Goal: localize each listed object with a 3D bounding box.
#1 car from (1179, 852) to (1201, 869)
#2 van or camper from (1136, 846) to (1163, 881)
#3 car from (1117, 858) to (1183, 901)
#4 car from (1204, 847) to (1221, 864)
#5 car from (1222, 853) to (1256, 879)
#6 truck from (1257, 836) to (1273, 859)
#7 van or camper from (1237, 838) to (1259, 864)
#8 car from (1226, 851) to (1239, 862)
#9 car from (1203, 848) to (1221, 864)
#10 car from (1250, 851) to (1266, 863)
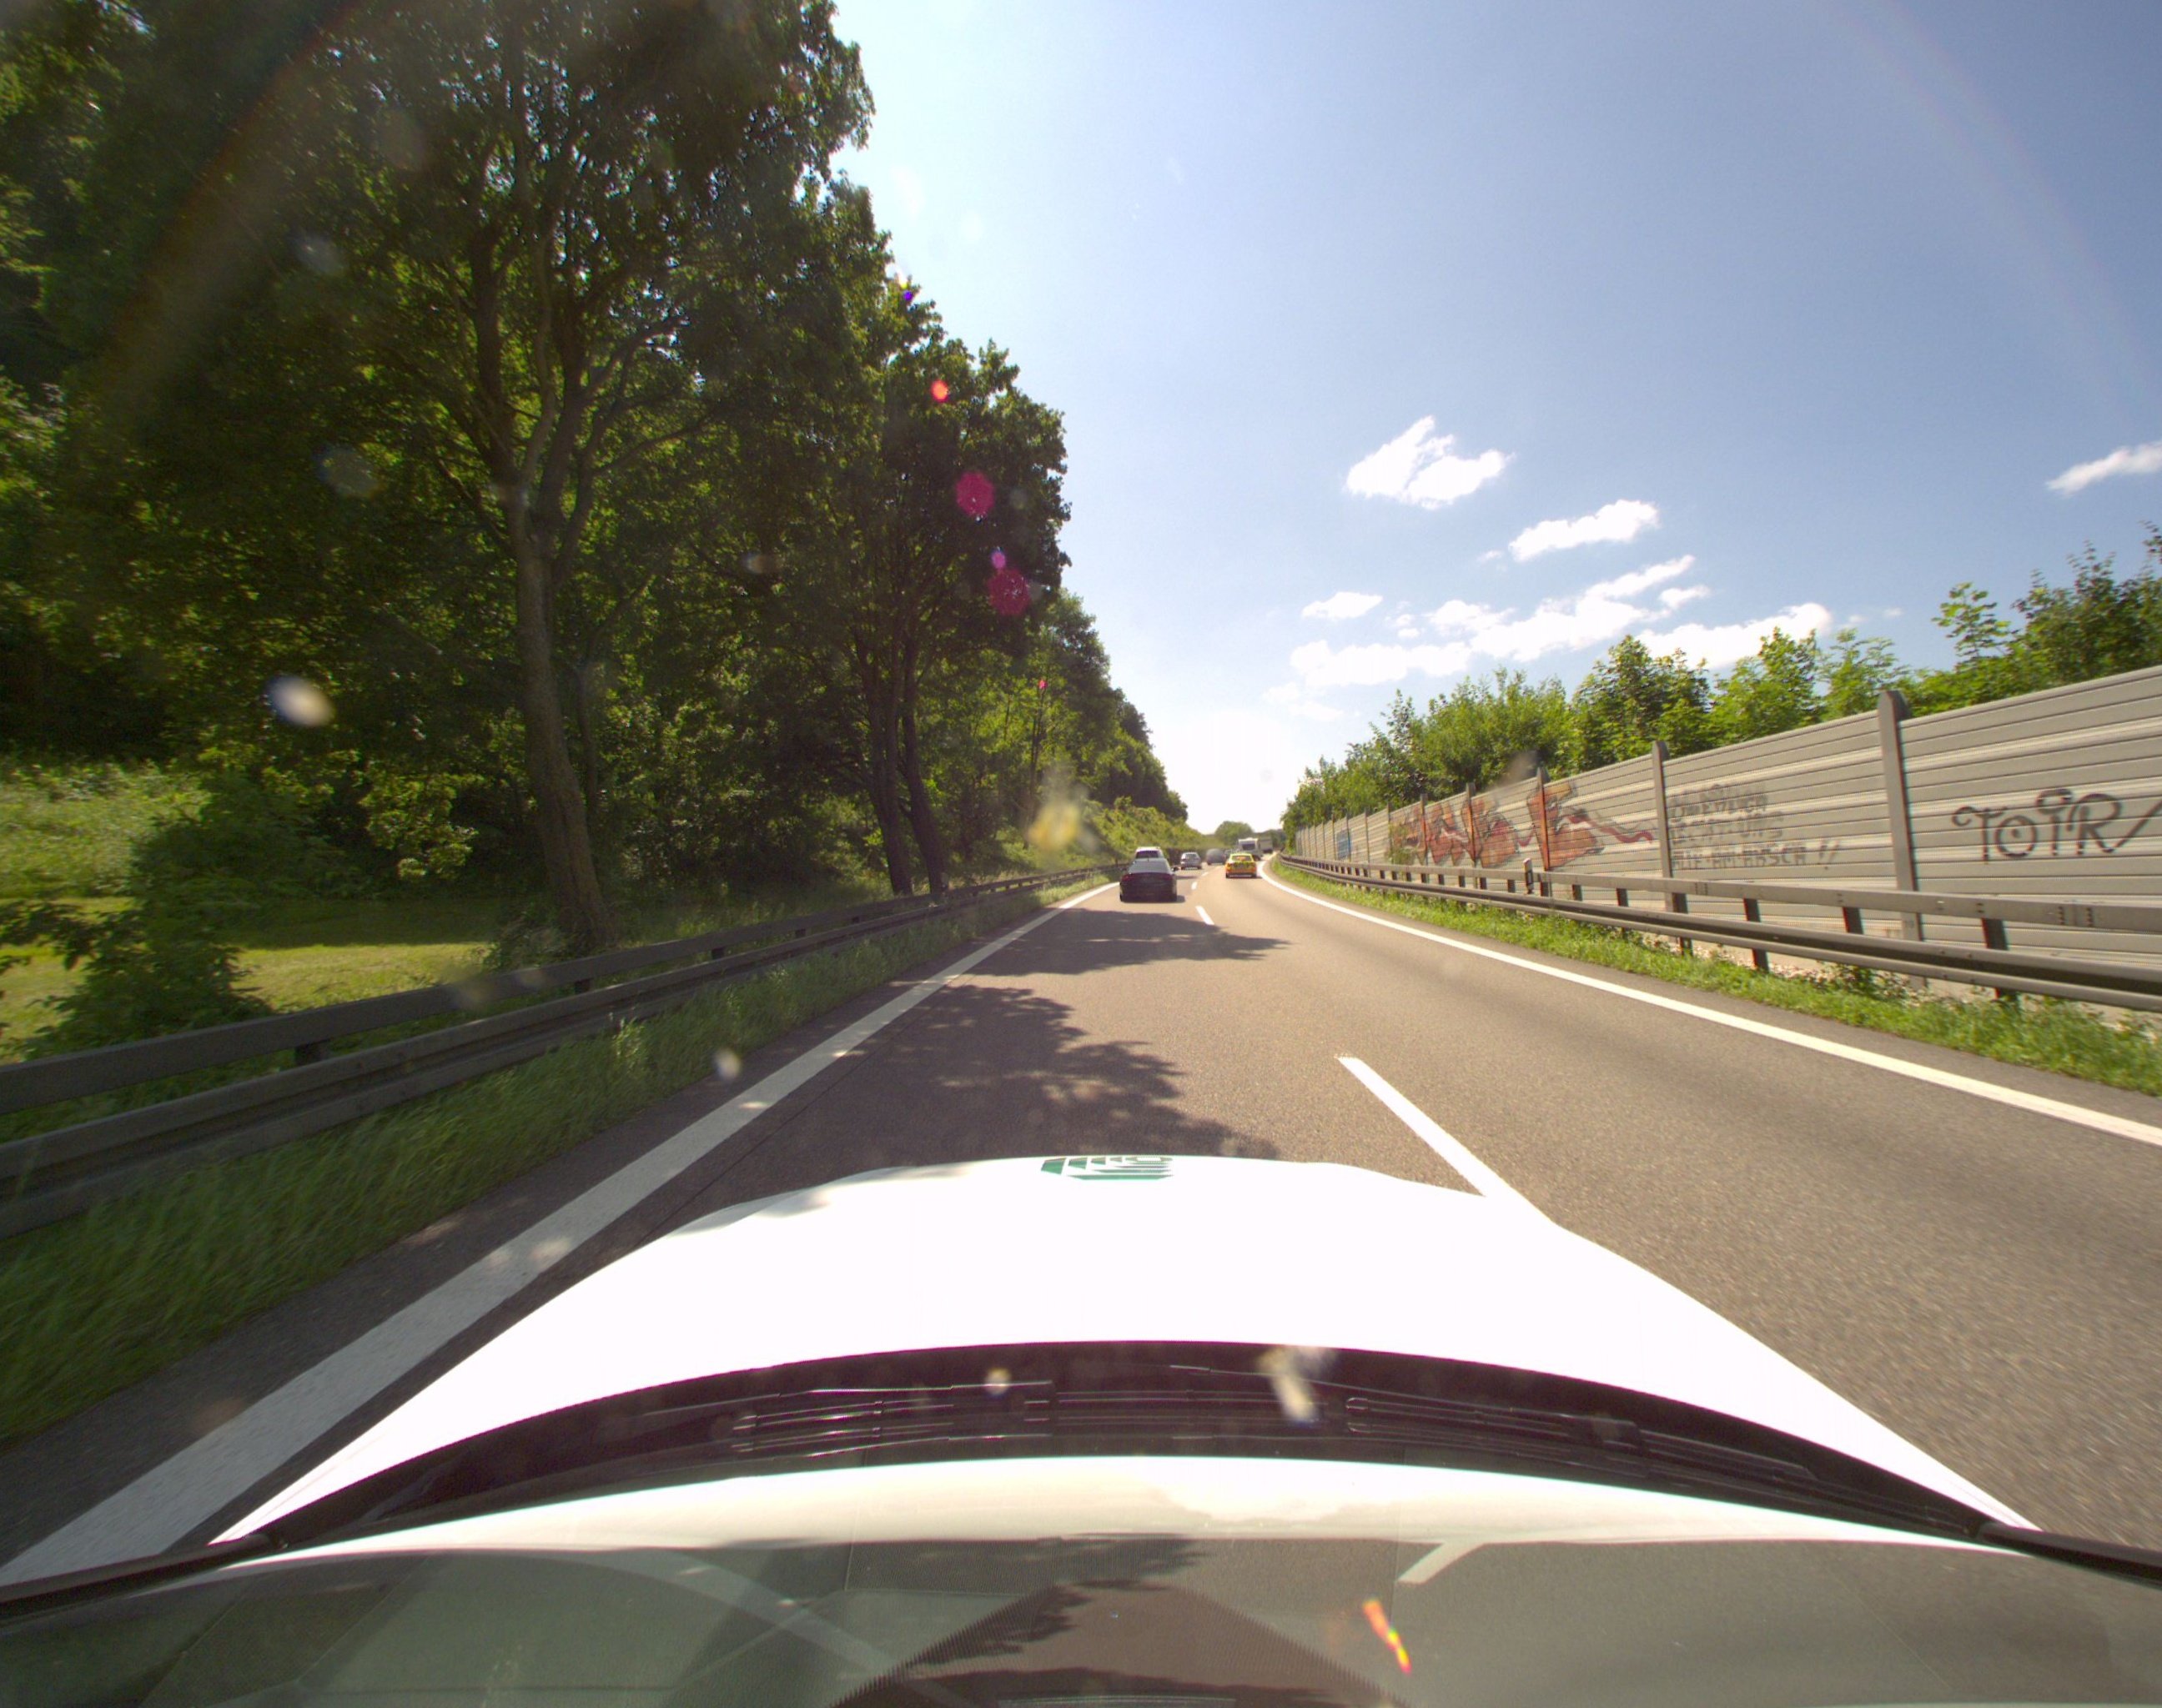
[{"bbox_3d":[9.404,0.583,70.047,1.737,1.431,4.009,-2,-1,8],"label":"car"},{"bbox_3d":[3.845,0.538,45.508,1.385,1.816,4.006,-1,-1,6],"label":"van or camper"},{"bbox_3d":[2.448,0.839,27.870,1.826,1.349,4.011,-2,-1,10],"label":"car"},{"bbox_3d":[16.212,0.130,100.326,1.981,2.013,4.011,-2,0,10],"label":"car"},{"bbox_3d":[9.427,0.721,48.679,1.851,1.488,4.010,-2,-1,9],"label":"car"},{"bbox_3d":[34.584,-1.222,152.776,2.713,4.096,7.507,-1,0,14],"label":"truck"},{"bbox_3d":[20.040,-0.300,97.325,2.439,2.918,6.146,-2,-1,12],"label":"van or camper"},{"bbox_3d":[24.226,0.386,130.323,1.828,1.717,4.015,-1,0,14],"label":"car"},{"bbox_3d":[13.746,0.211,85.305,1.763,1.637,4.009,-1,-1,8],"label":"car"},{"bbox_3d":[27.340,0.460,126.018,1.978,1.717,4.018,-2,0,18],"label":"car"}]
